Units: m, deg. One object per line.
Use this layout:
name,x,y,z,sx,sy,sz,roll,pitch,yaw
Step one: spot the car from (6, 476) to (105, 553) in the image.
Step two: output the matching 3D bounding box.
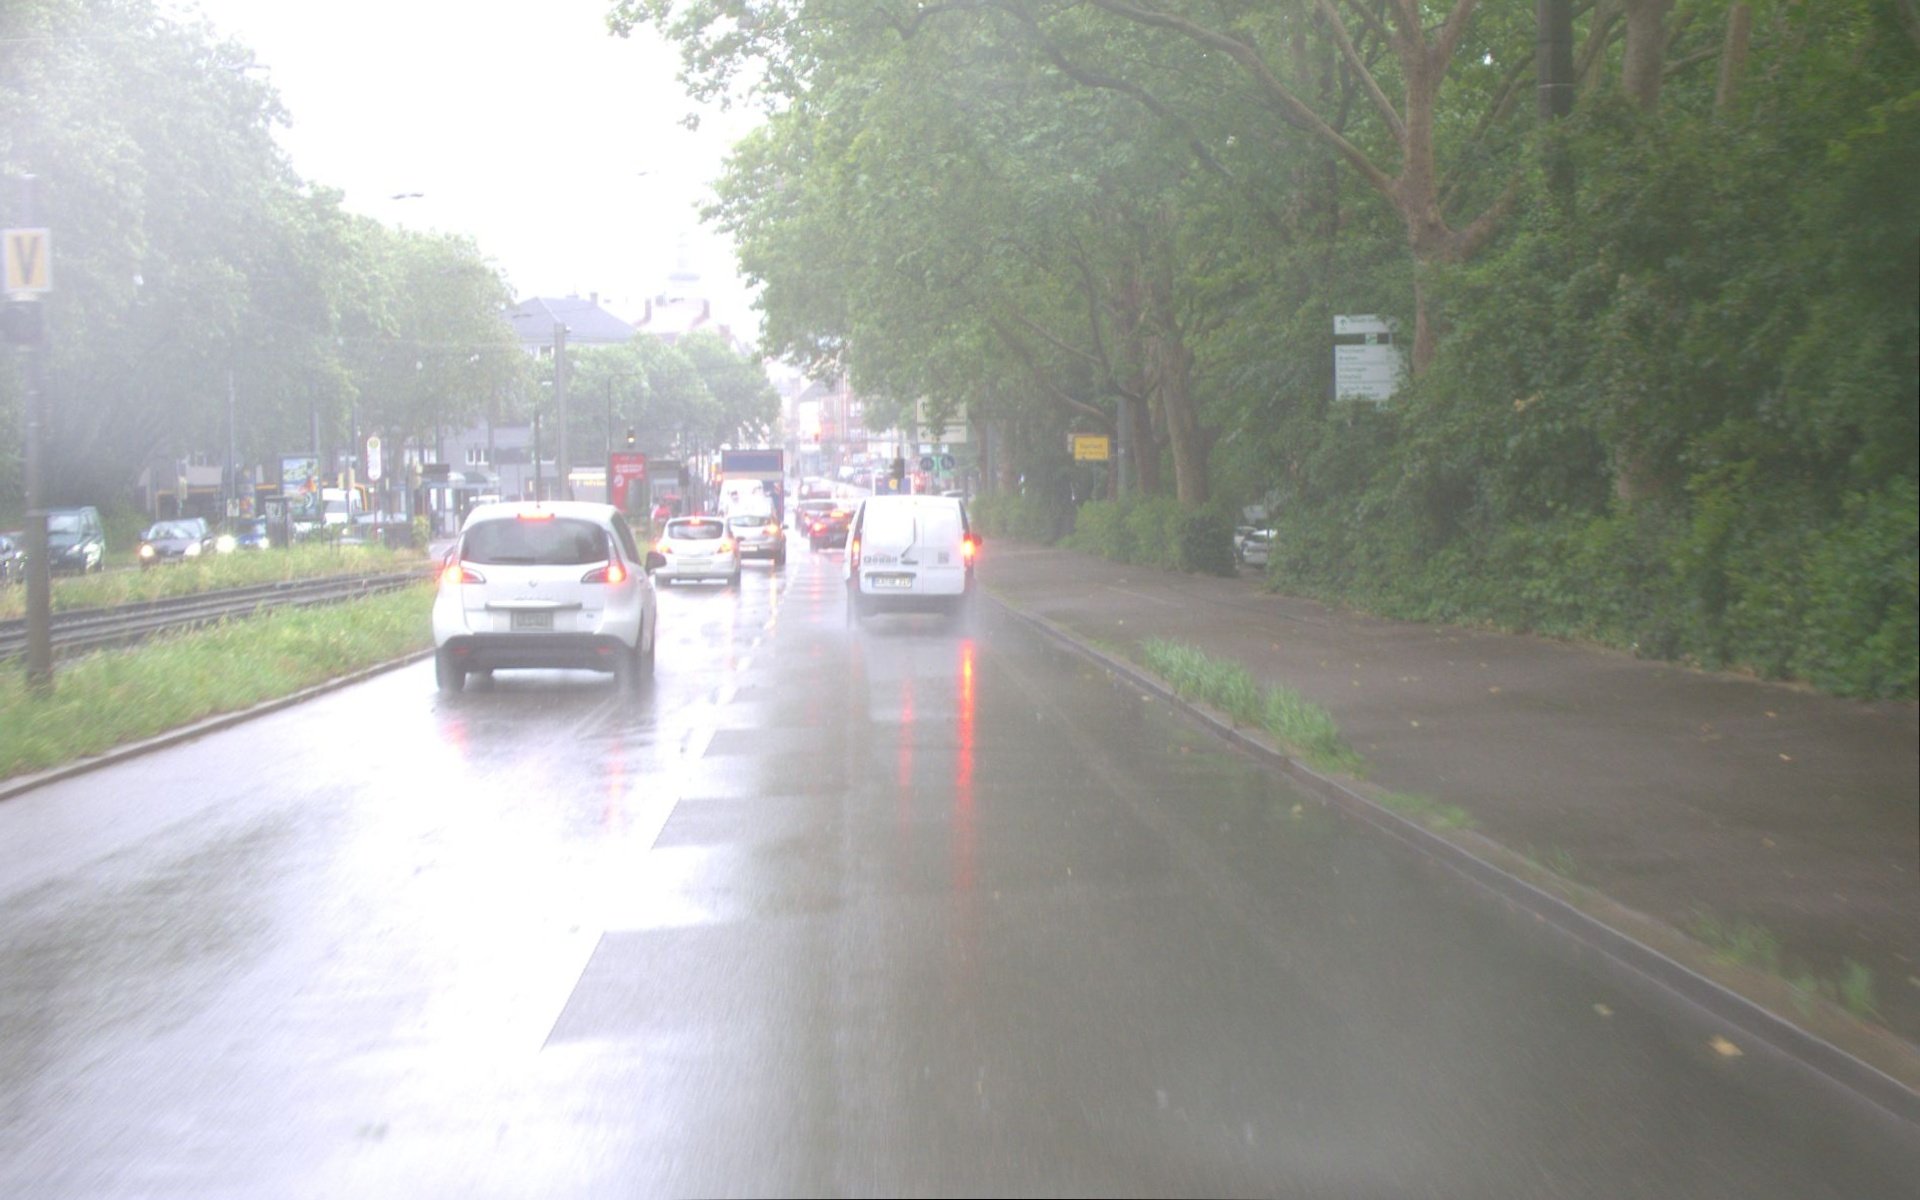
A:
car,-25.898,-2.457,98.621,2.031,2.085,4.805,-2,2,-7

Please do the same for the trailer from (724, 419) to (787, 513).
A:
trailer,-8.735,-5.684,146.129,2.590,3.886,7.638,0,2,-4

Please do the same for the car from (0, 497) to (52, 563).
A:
car,-24.720,-1.818,88.173,2.031,1.652,4.611,0,2,-5

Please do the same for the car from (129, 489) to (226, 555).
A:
car,-21.915,-2.208,96.412,2.031,1.745,4.261,-2,2,-5

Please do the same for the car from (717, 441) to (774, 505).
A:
car,-7.853,-4.635,126.179,1.993,2.254,5.289,0,1,-3

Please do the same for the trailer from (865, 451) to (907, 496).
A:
trailer,-3.991,-6.765,184.114,1.993,2.309,4.669,0,1,-4

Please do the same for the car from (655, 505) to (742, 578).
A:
car,-5.407,-1.227,71.490,1.725,1.474,3.806,0,1,-3

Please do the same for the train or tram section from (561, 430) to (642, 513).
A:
train or tram section,-15.016,-5.457,144.480,2.961,3.274,8.363,-2,3,-4

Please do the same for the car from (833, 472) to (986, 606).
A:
car,-0.735,-0.846,47.435,1.959,1.771,3.570,0,1,-3

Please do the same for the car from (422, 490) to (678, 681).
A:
car,-3.656,-0.186,31.307,1.864,1.618,4.263,0,2,-1

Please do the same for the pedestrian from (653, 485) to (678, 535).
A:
pedestrian,-10.113,-3.082,118.045,0.790,1.708,0.771,1,1,-4

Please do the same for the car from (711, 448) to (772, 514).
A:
car,-8.637,-4.685,136.296,2.329,2.548,6.115,0,1,-3
